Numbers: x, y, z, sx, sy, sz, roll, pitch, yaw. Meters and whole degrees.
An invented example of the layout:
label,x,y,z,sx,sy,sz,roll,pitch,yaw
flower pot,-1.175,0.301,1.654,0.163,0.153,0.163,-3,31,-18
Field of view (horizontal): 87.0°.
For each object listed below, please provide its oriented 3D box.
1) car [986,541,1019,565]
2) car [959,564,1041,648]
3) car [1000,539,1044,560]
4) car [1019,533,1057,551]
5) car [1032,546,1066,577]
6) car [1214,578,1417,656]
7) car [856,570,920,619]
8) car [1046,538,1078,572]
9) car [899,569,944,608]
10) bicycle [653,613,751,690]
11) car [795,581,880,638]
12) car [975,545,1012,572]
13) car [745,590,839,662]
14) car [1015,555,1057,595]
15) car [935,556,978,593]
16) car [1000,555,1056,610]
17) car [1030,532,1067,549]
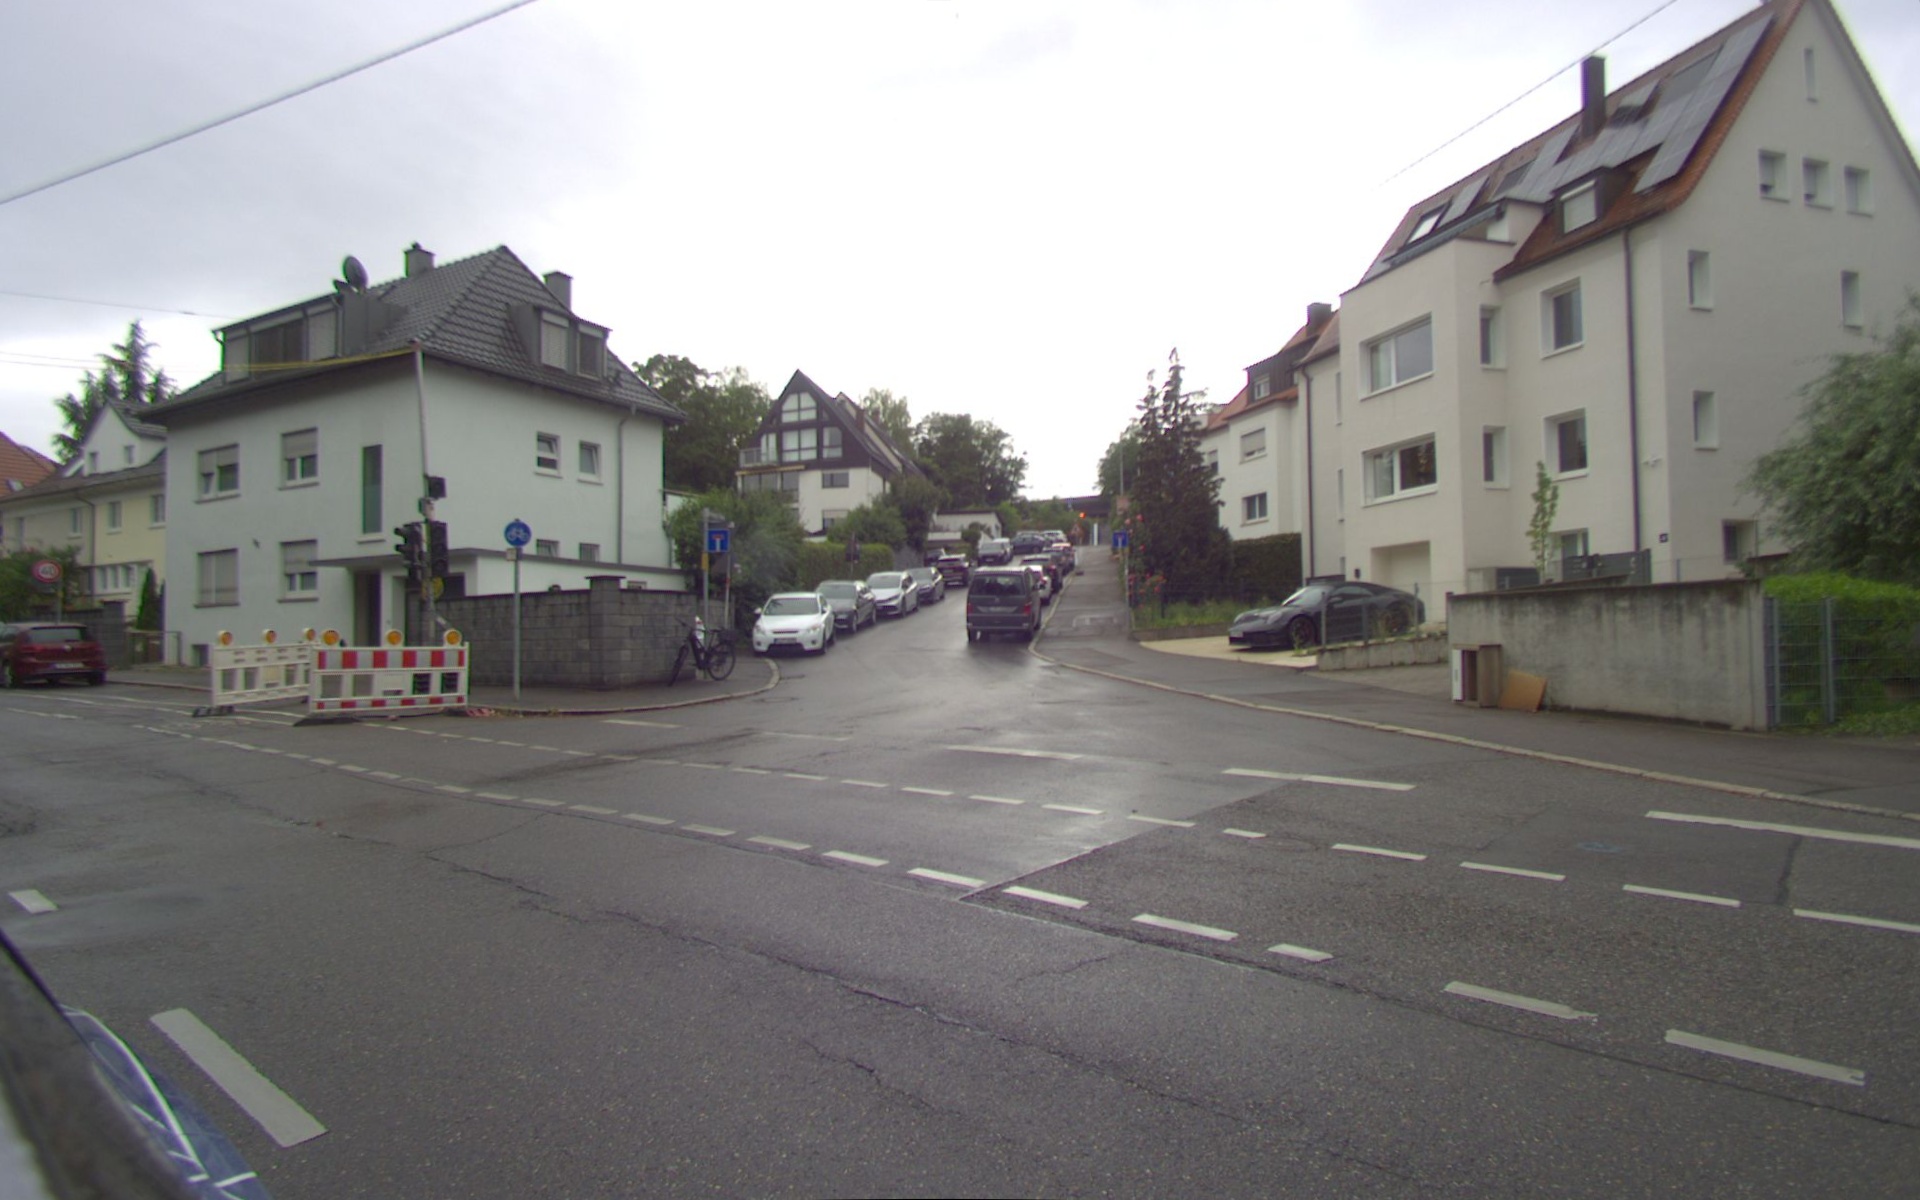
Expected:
label,x,y,z,sx,sy,sz,roll,pitch,yaw
car,3.182,-3.532,75.360,1.720,1.510,3.817,-1,6,13
car,1.211,0.107,28.859,1.893,1.950,3.789,-2,5,9
car,5.131,-4.219,83.773,3.572,1.510,1.578,-2,5,7
car,7.631,-5.662,98.764,3.489,1.510,1.615,-1,6,16
car,5.167,-2.245,58.269,1.677,1.479,3.553,-2,5,9
car,7.653,0.349,21.835,3.857,1.342,1.572,-4,1,-16
car,-2.564,-0.252,36.952,1.564,1.476,3.847,-1,5,7
car,6.342,-2.808,62.596,1.677,1.871,3.553,-2,5,9
car,-1.577,-0.519,42.551,1.320,1.400,3.497,-1,5,7
bicycle,-4.697,0.911,18.549,0.705,1.321,1.713,-1,0,33
car,-3.771,0.238,31.767,1.684,1.476,3.847,-2,3,7
car,2.293,-2.855,68.669,1.720,1.510,3.817,-1,6,13
car,-4.191,0.609,25.792,1.726,1.476,3.561,-2,3,0
car,3.443,-1.136,45.286,1.565,1.479,3.553,-2,5,9
car,-0.150,-1.354,52.232,1.323,1.566,3.971,-1,6,13
car,2.718,-0.717,39.880,1.900,1.850,3.406,-2,5,9
car,9.102,-6.078,103.798,3.492,1.510,1.614,-1,6,18
